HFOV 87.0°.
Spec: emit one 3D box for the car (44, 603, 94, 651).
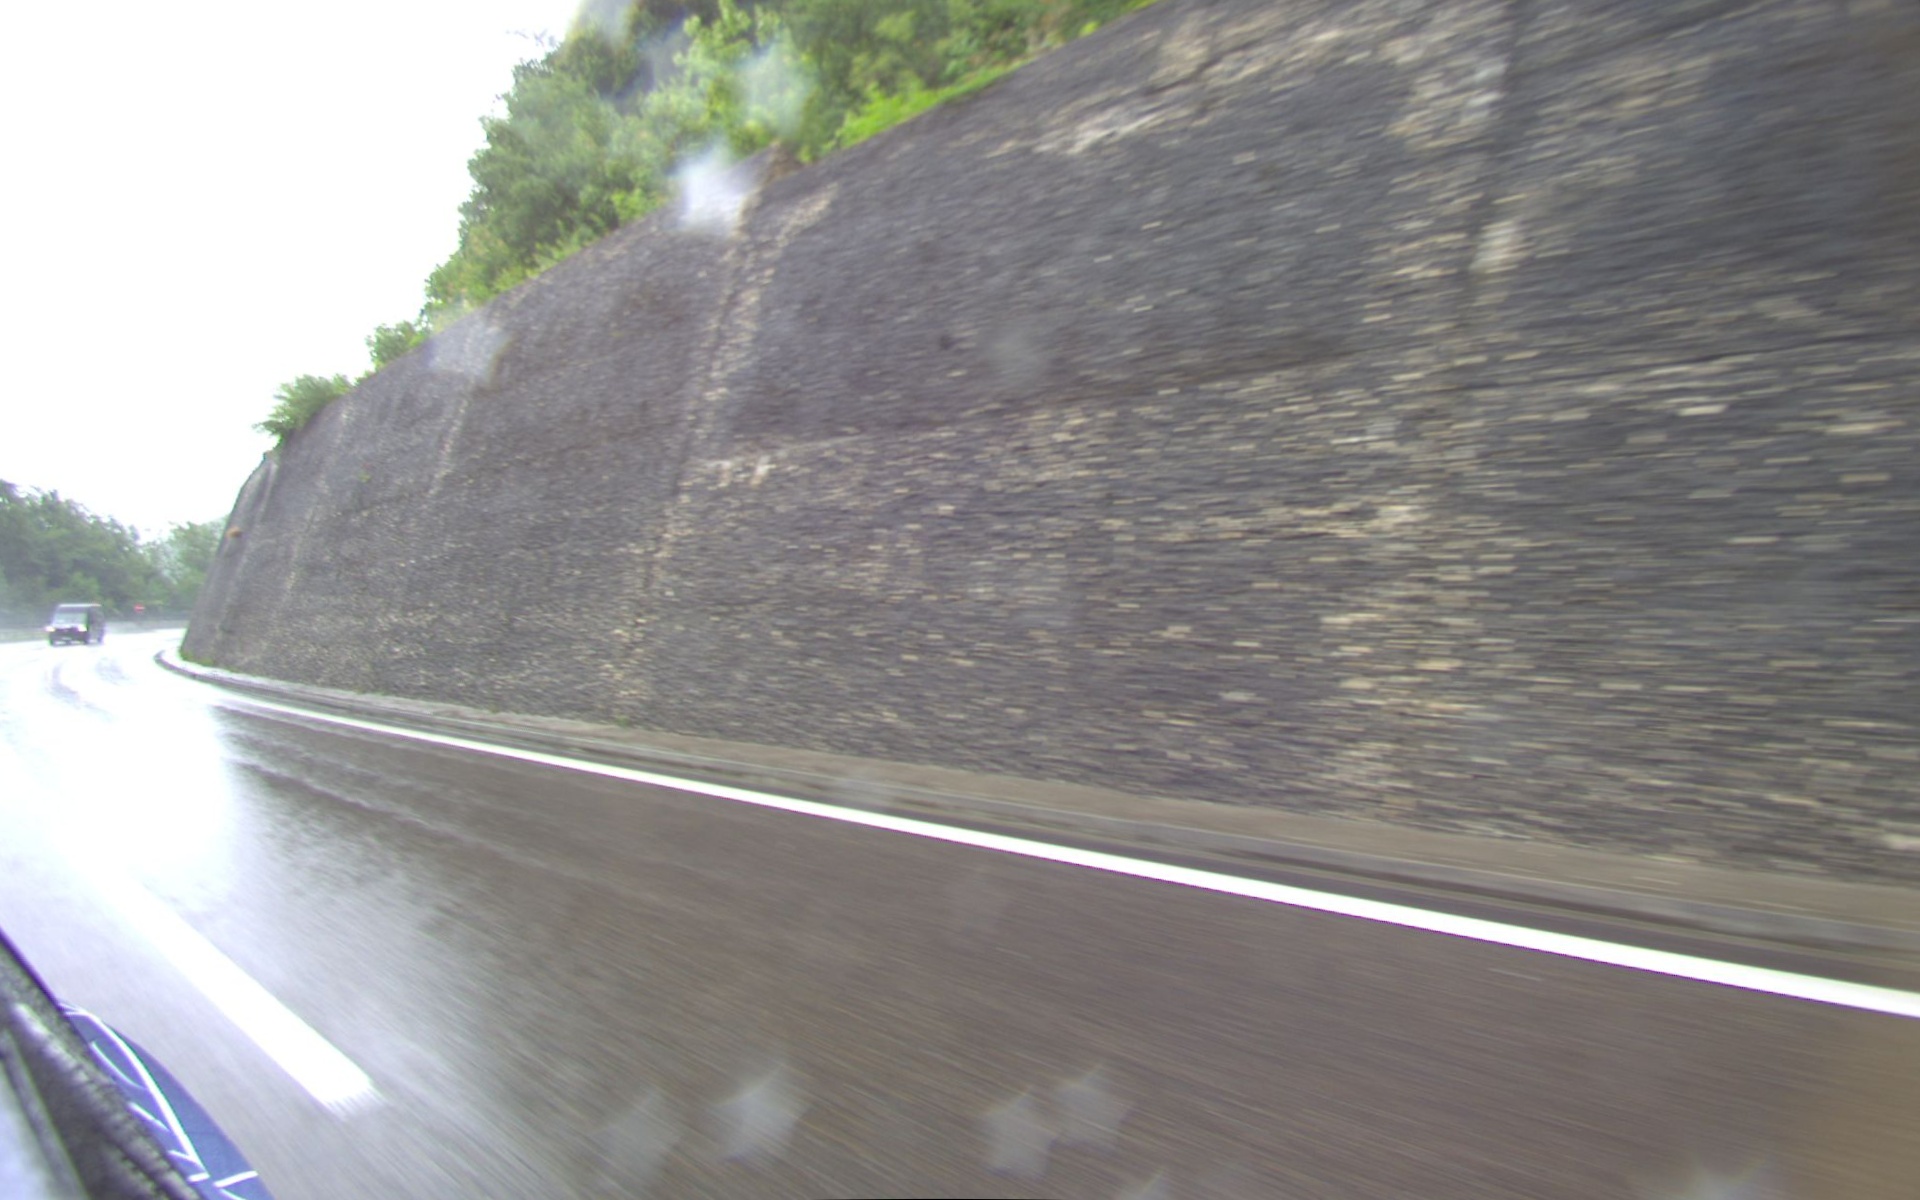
[{"bbox_3d":[-58.131,1.725,66.107,1.713,3.048,4.012,1,-1,-31],"label":"car"}]
